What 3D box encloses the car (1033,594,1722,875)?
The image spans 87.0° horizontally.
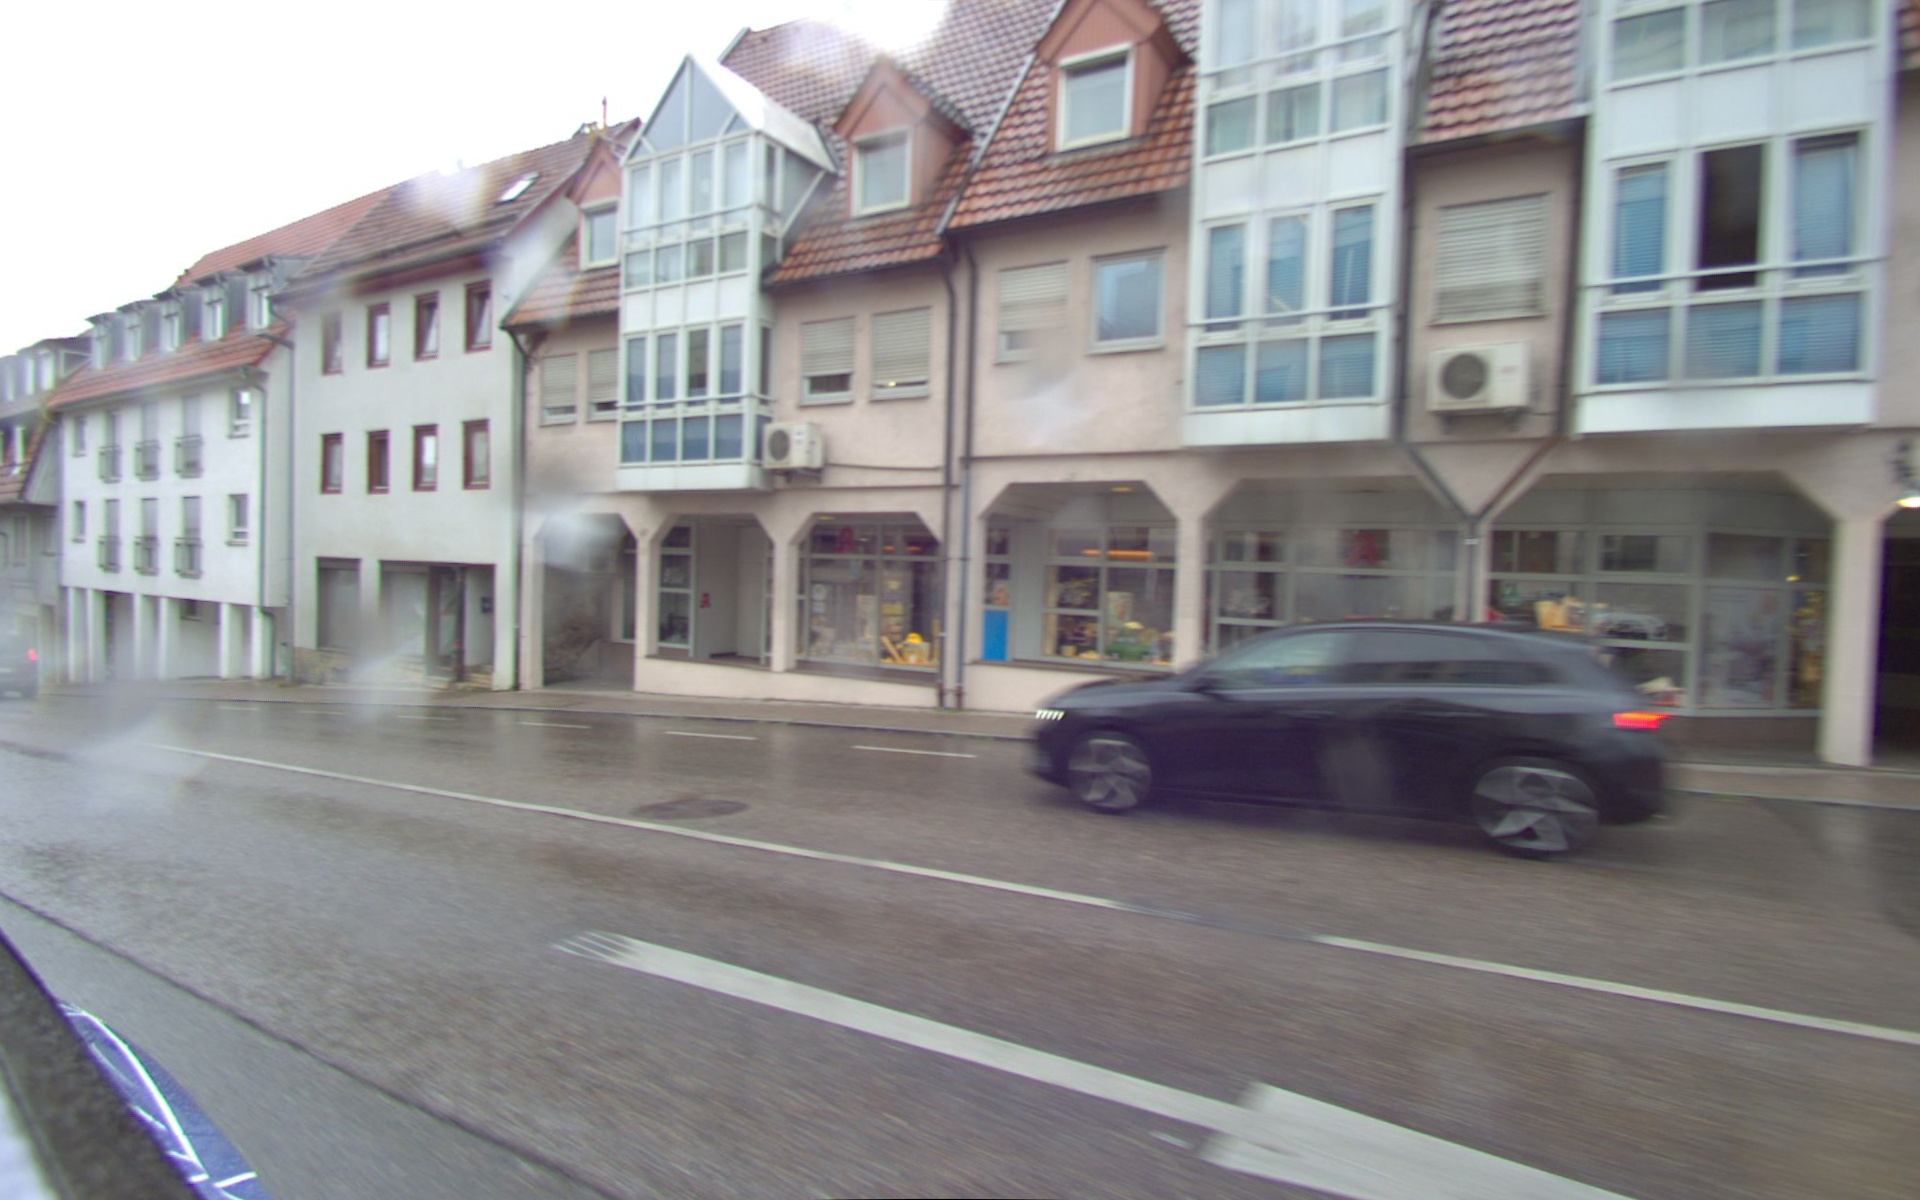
[{"bbox_3d":[2.716,0.781,7.160,3.983,1.478,1.874,-2,-2,29],"label":"car"}]

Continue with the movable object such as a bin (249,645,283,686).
[{"bbox_3d":[-17.656,1.665,25.745,0.583,1.014,0.504,-3,-1,33],"label":"movable object such as a bin"}]

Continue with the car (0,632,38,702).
[{"bbox_3d":[-24.620,1.654,25.001,4.204,1.642,1.767,-2,-1,34],"label":"car"}]
